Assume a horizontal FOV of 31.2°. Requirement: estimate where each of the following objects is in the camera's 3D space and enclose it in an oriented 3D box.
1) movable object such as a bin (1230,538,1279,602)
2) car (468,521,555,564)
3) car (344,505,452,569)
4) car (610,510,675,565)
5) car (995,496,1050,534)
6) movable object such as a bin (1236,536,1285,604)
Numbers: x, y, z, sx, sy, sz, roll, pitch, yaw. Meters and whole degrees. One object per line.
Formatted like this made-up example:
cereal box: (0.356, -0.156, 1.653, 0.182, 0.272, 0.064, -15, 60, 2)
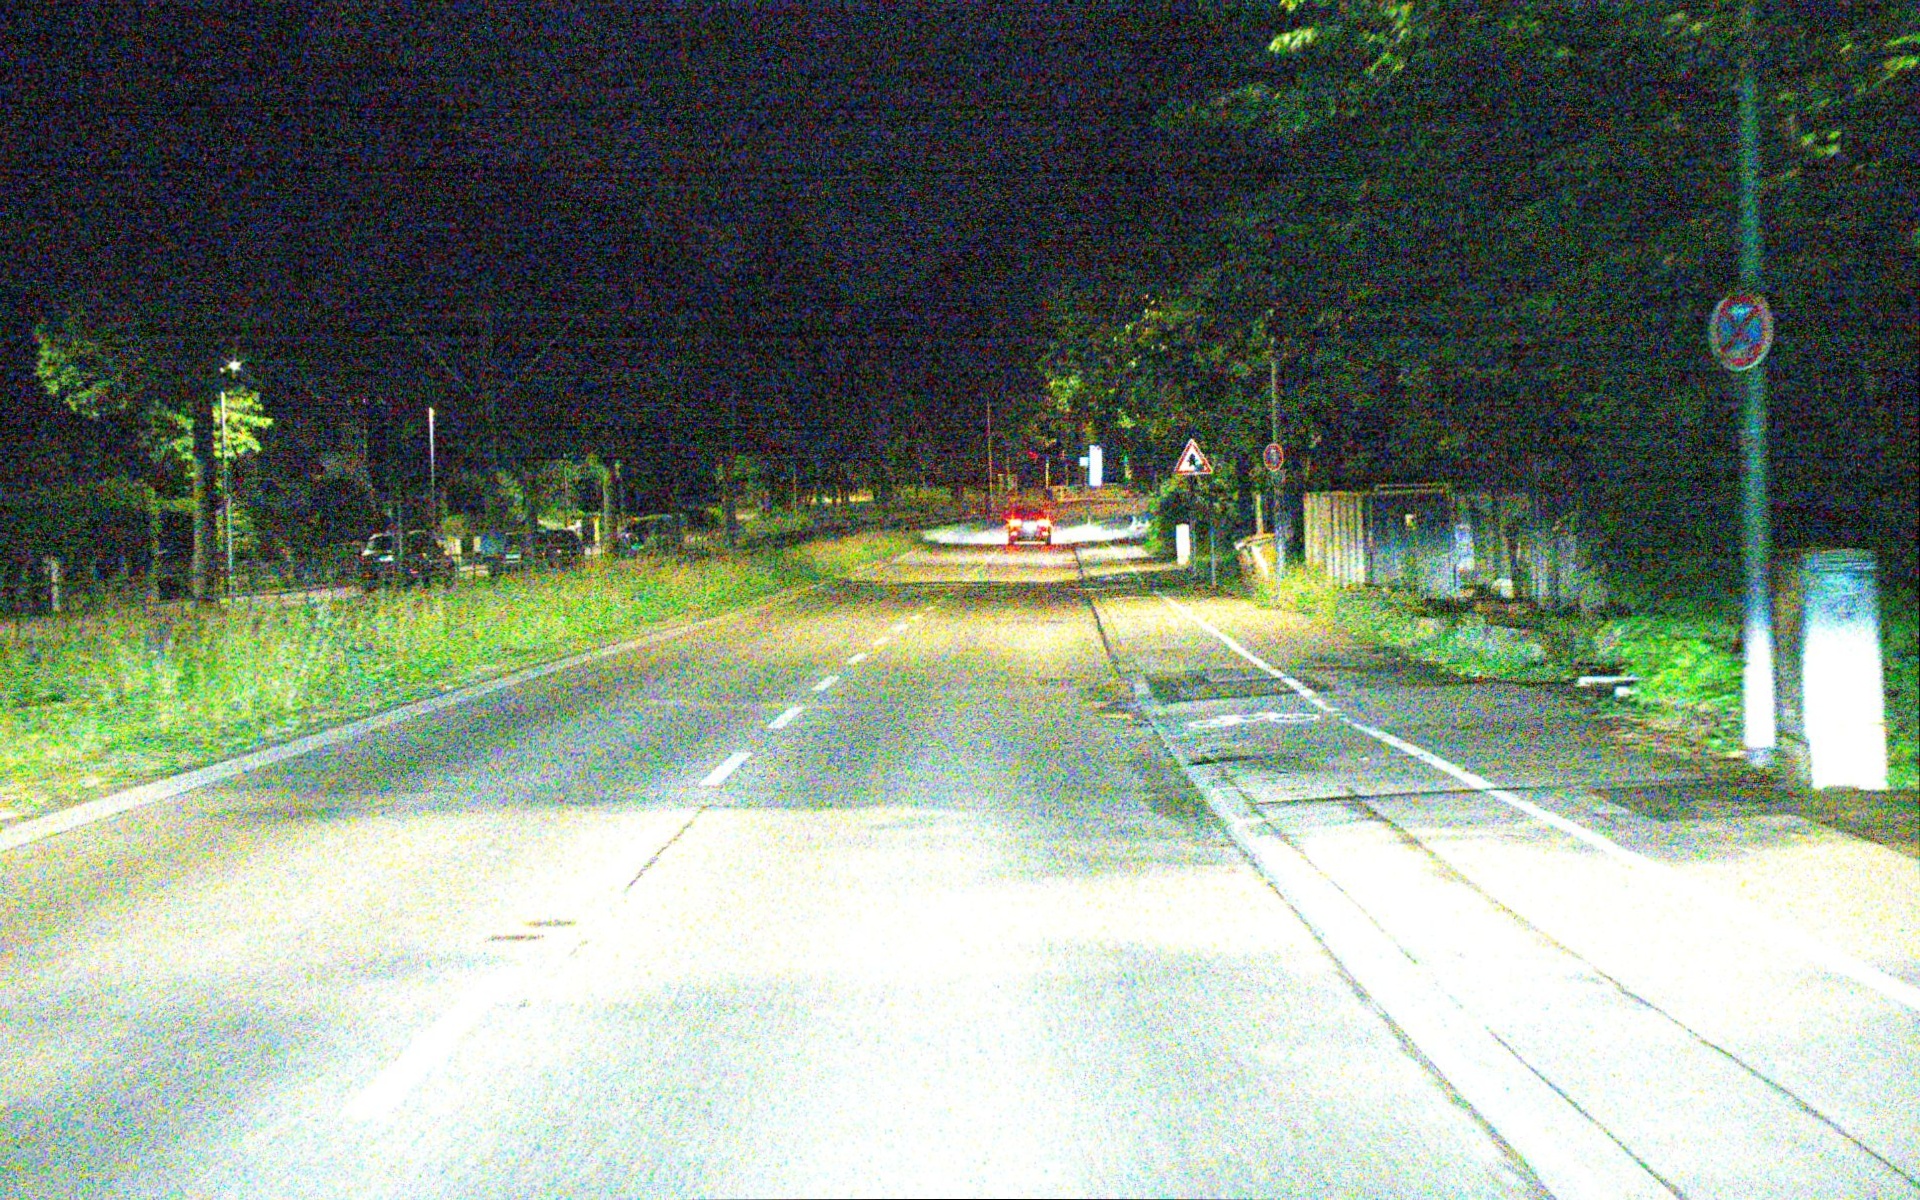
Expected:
movable object such as a bin: (5.193, -0.528, 60.656, 0.857, 1.115, 0.840, 0, 1, 4)
car: (-14.316, -1.852, 110.024, 1.993, 1.333, 5.432, -1, 1, 1)
car: (-14.725, -1.663, 90.281, 1.993, 1.622, 4.677, -1, 1, 1)
car: (-12.974, -2.577, 140.530, 2.091, 2.006, 4.000, -5, 2, 1)
car: (2.633, -3.597, 145.668, 2.161, 1.577, 4.014, 0, 1, -2)
movable object such as a bin: (5.218, -0.523, 59.778, 0.833, 1.177, 0.828, 0, 1, 4)
